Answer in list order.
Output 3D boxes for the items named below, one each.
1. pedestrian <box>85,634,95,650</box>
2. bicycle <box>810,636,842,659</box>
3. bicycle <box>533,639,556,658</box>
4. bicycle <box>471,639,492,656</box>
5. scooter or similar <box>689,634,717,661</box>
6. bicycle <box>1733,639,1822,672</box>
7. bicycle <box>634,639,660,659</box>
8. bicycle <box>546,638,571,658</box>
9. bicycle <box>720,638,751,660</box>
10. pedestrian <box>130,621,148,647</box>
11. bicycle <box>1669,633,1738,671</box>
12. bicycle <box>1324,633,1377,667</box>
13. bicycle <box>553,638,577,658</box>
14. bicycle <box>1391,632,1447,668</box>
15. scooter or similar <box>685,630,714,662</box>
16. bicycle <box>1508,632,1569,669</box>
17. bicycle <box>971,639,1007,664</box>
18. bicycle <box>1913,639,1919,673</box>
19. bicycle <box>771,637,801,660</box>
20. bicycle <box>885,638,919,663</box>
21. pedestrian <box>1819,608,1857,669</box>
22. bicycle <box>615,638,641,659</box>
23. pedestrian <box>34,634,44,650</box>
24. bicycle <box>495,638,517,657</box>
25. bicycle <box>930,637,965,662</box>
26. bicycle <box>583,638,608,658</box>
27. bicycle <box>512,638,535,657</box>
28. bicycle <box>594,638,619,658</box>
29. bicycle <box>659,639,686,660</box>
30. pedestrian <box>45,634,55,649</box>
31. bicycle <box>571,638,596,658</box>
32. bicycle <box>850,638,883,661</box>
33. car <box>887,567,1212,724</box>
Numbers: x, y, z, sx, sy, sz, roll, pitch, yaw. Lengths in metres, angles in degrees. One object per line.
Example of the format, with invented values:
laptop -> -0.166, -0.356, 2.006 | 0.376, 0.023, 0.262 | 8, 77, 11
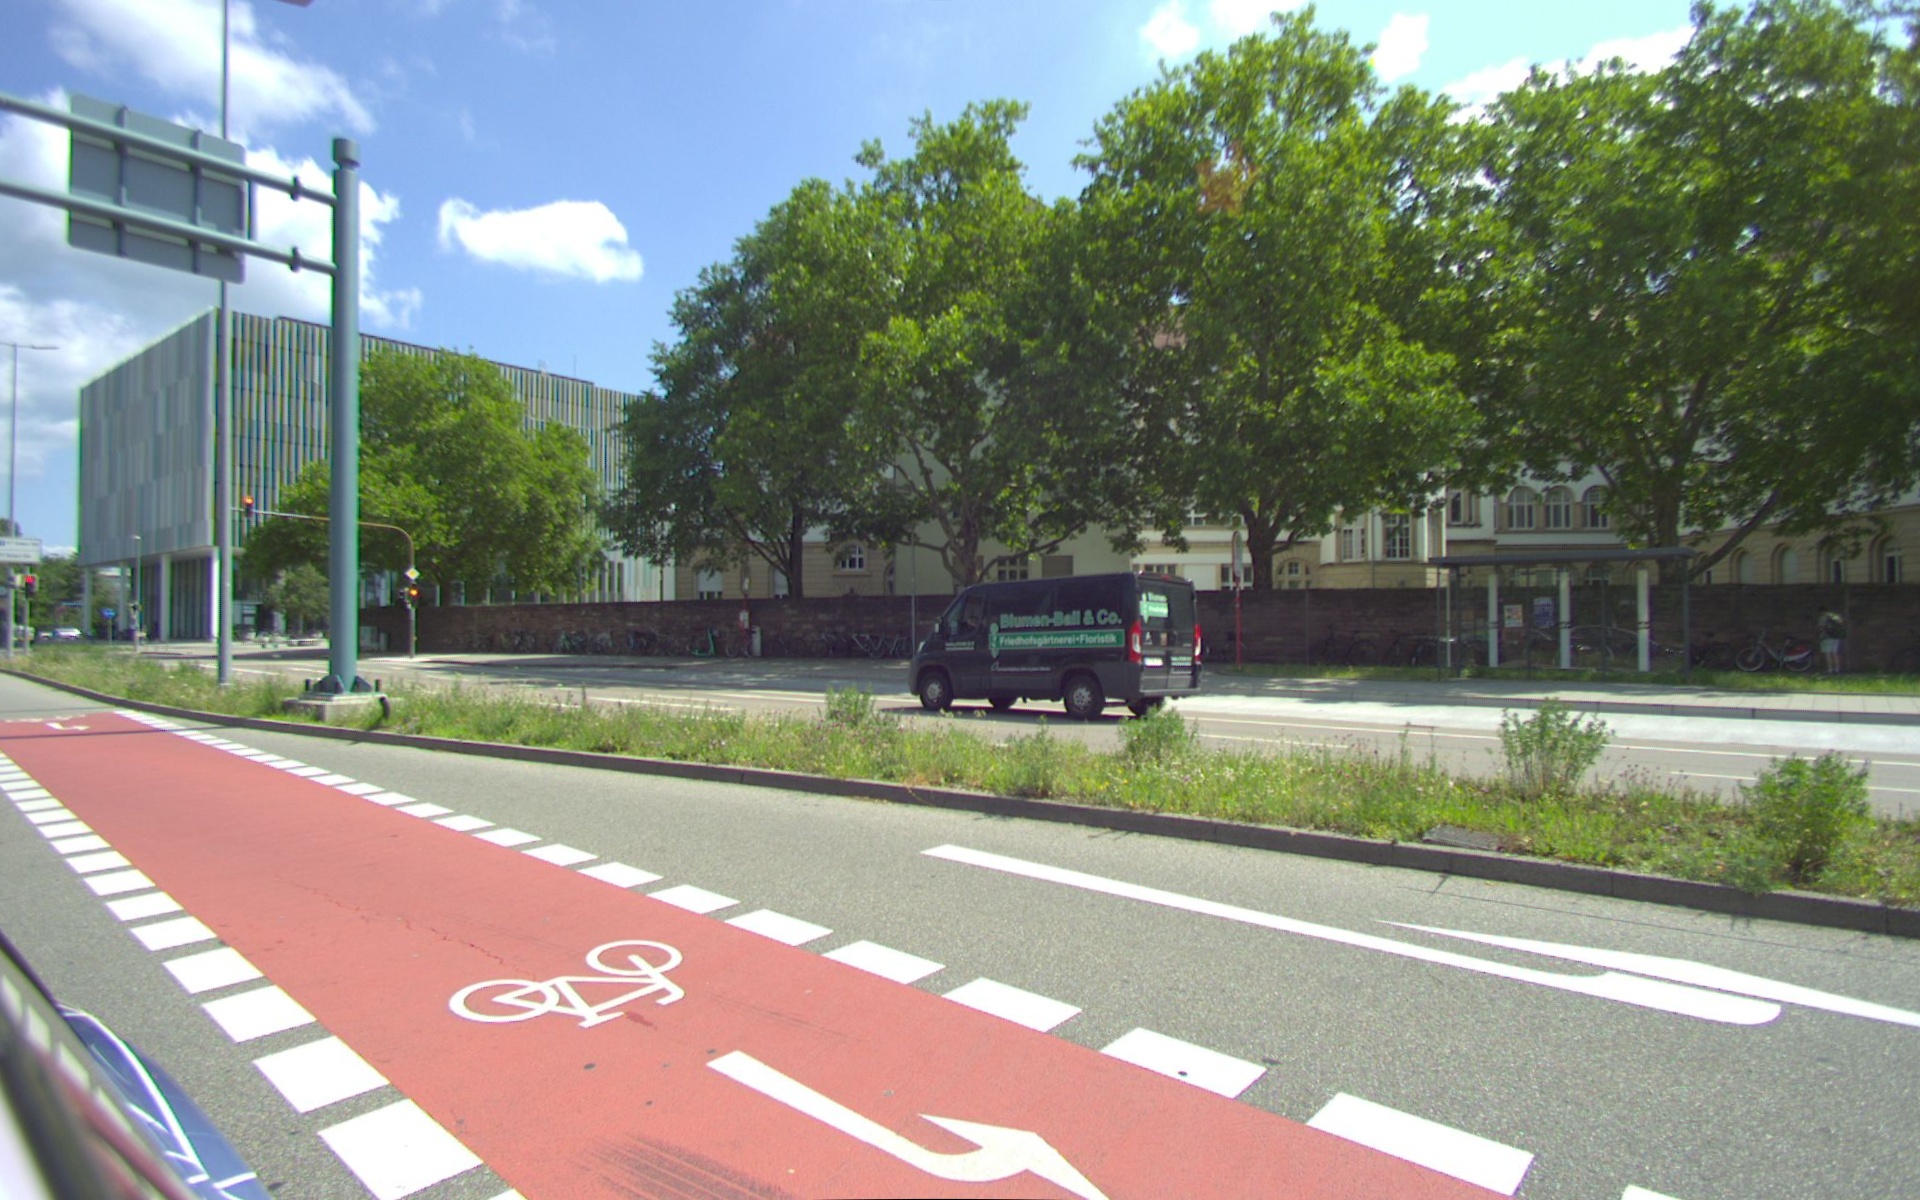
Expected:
pedestrian -> -79.625, 3.851, 92.627 | 0.686, 1.464, 0.689 | 1, -3, -45
bicycle -> -4.885, 1.731, 36.855 | 1.231, 0.837, 0.262 | -1, -2, 30
bicycle -> -18.591, 2.163, 45.306 | 1.230, 0.837, 0.262 | -1, -2, 29
bicycle -> -22.688, 2.250, 47.956 | 1.231, 0.837, 0.262 | -2, -2, 30
scooter or similar -> -10.140, 1.868, 39.916 | 1.133, 1.028, 0.264 | -1, -2, 19
bicycle -> 20.749, 1.403, 25.720 | 1.734, 0.823, 0.327 | -1, -2, 18
bicycle -> -12.795, 2.004, 41.359 | 1.231, 0.837, 0.262 | -2, -2, 30
bicycle -> -17.456, 2.096, 44.002 | 1.230, 0.837, 0.262 | -1, -2, 29
bicycle -> -8.642, 1.886, 38.947 | 1.226, 0.837, 0.263 | -1, -2, 19
pedestrian -> -63.621, 2.638, 78.425 | 0.994, 2.029, 0.853 | -2, -2, 39
bicycle -> 19.237, 1.344, 26.193 | 1.384, 0.972, 0.263 | -1, -2, 18
bicycle -> 11.183, 1.425, 29.031 | 1.384, 0.972, 0.263 | -1, -2, 18
bicycle -> -17.402, 2.111, 44.557 | 1.230, 0.837, 0.262 | -1, -2, 29
bicycle -> 12.869, 1.403, 28.417 | 1.384, 0.972, 0.263 | -1, -2, 18
scooter or similar -> -10.019, 1.759, 38.875 | 1.230, 1.199, 0.262 | -1, -2, 29
bicycle -> 15.635, 1.367, 27.387 | 1.384, 0.972, 0.263 | -1, -2, 18
bicycle -> 0.965, 1.708, 33.714 | 1.230, 0.837, 0.262 | -1, -2, 28
bicycle -> 24.397, 1.356, 24.616 | 1.734, 0.823, 0.382 | -1, -2, 18
bicycle -> -6.465, 1.809, 37.563 | 1.231, 0.837, 0.262 | -1, -2, 30
bicycle -> -2.010, 1.750, 35.114 | 1.231, 0.837, 0.262 | -1, -2, 30
pedestrian -> 21.462, 0.938, 24.750 | 0.633, 1.484, 0.504 | -2, -2, 39
bicycle -> -13.843, 2.025, 42.174 | 1.231, 0.837, 0.262 | -2, -2, 30
pedestrian -> -88.784, 4.056, 97.549 | 0.686, 1.464, 0.689 | 1, -3, -45
bicycle -> -21.049, 2.203, 46.964 | 1.231, 0.837, 0.262 | -2, -2, 30
bicycle -> -0.430, 1.672, 34.269 | 1.230, 0.837, 0.262 | -1, -2, 28
bicycle -> -15.326, 2.004, 42.553 | 1.230, 0.837, 0.262 | -1, -2, 29
bicycle -> -19.943, 2.172, 46.240 | 1.230, 0.837, 0.262 | -1, -2, 29
bicycle -> -14.979, 2.016, 42.877 | 1.231, 0.837, 0.262 | -2, -2, 30
bicycle -> -11.522, 1.966, 40.554 | 1.231, 0.837, 0.262 | -2, -2, 30
pedestrian -> -88.729, 4.055, 98.659 | 0.686, 1.464, 0.689 | 1, -3, -45
bicycle -> -16.262, 2.082, 43.722 | 1.231, 0.837, 0.262 | -2, -2, 30
bicycle -> -3.325, 1.753, 35.894 | 1.231, 0.837, 0.262 | -1, -2, 30
car -> 1.351, 0.752, 16.607 | 5.014, 2.192, 2.126 | -2, -4, 40
